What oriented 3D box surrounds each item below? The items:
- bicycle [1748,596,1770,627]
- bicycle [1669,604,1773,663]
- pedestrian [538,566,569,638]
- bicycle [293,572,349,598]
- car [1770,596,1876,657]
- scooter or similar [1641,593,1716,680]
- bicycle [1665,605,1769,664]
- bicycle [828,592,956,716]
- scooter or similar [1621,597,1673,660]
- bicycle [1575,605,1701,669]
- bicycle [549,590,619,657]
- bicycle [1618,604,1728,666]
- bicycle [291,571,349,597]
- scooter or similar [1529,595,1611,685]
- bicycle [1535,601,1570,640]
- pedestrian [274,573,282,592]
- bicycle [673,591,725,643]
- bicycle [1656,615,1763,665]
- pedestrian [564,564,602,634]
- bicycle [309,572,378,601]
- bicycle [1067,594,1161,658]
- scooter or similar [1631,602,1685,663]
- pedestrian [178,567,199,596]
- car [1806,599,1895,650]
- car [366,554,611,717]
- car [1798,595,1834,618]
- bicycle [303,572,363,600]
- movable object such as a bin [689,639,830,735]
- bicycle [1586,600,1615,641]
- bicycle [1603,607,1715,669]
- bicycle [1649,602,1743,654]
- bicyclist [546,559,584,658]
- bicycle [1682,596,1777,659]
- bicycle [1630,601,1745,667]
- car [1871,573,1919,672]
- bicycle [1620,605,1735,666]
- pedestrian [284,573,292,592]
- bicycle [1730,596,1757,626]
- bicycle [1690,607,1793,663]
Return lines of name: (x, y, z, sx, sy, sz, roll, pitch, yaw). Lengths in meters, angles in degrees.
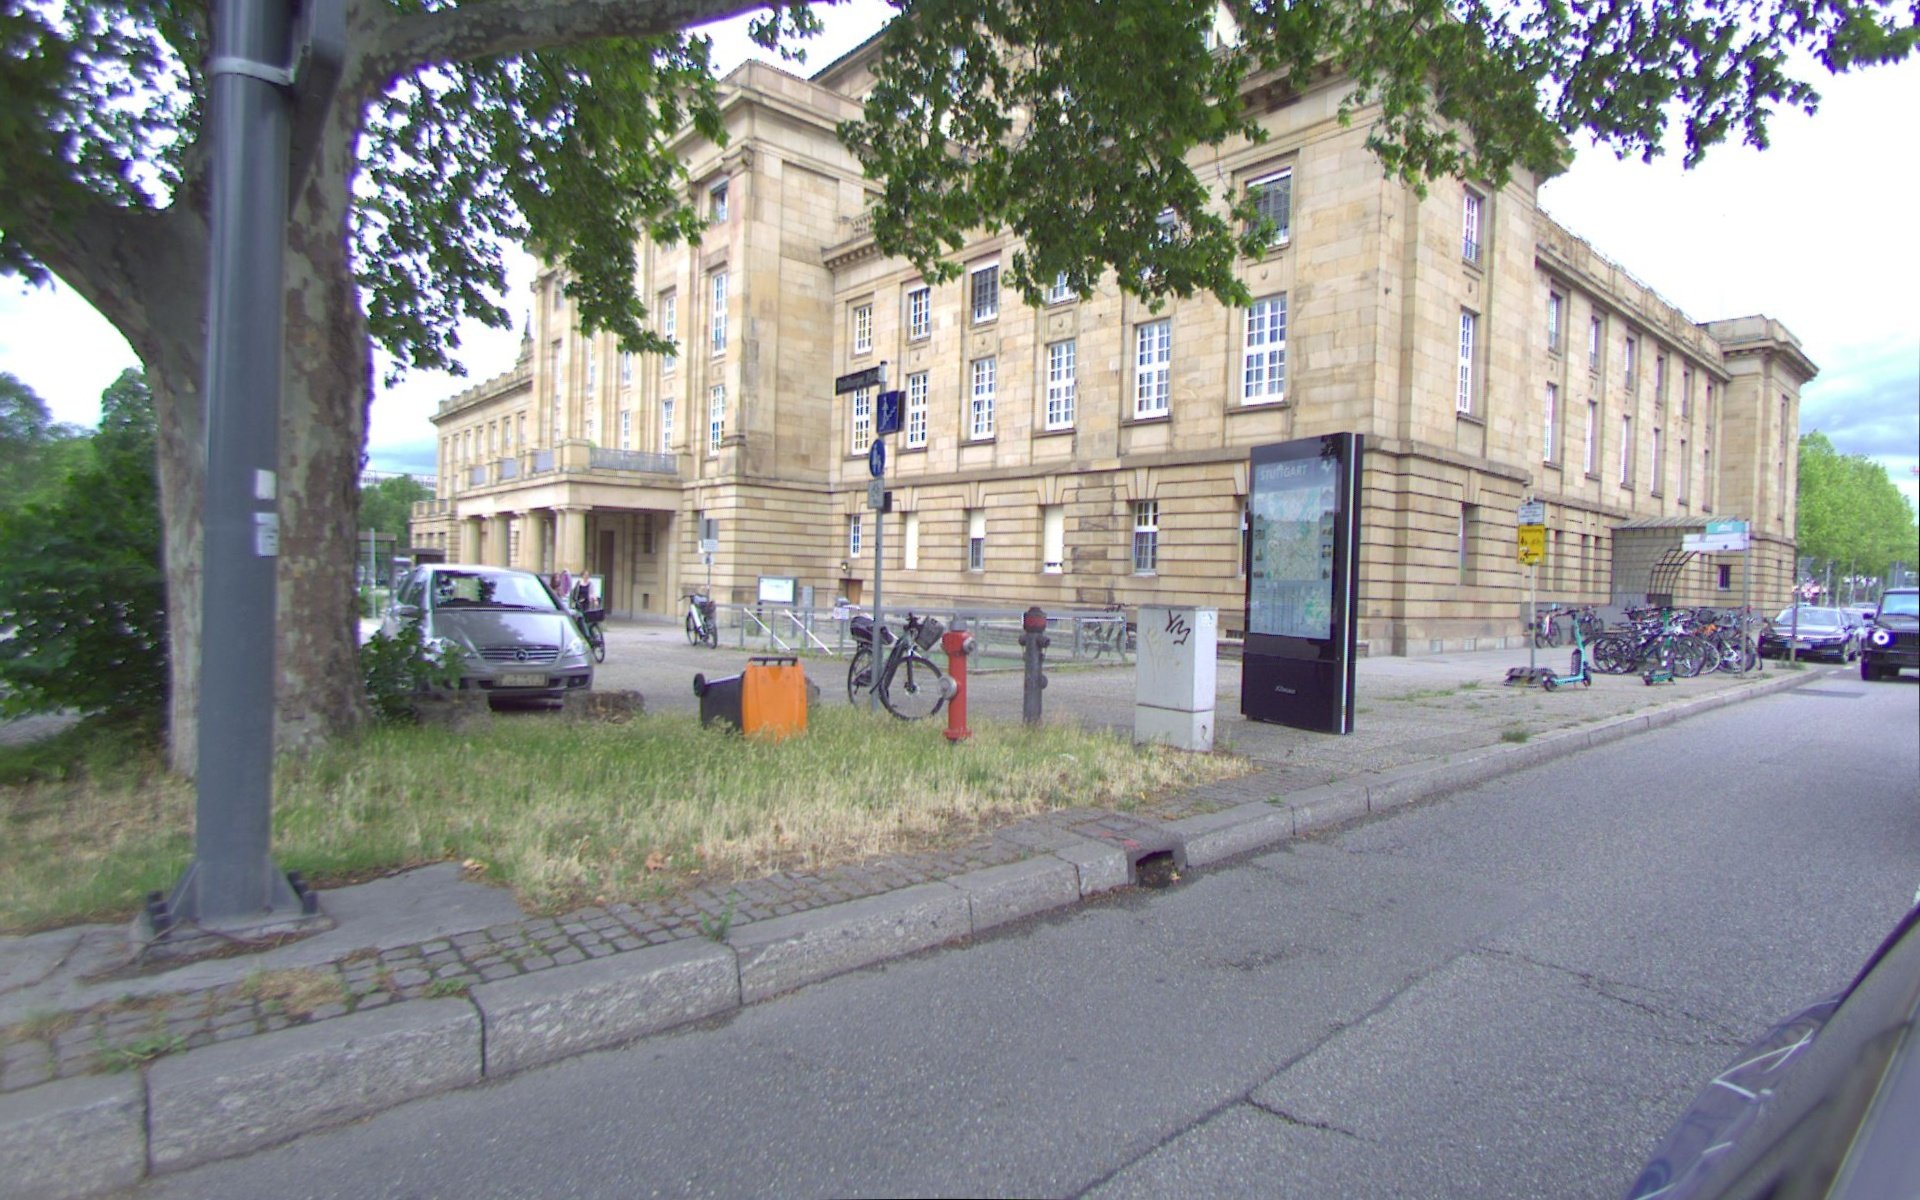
bicycle: (34.410, 0.502, 43.574, 1.759, 1.304, 0.413, 0, 1, -42)
bicycle: (15.171, 0.654, 20.212, 1.596, 1.144, 0.405, 0, 0, 24)
pedestrian: (-9.872, 0.046, 24.604, 0.559, 1.716, 0.430, 1, 1, -43)
bicycle: (-35.350, -0.829, 56.037, 2.534, 1.362, 0.726, 0, 0, -41)
car: (23.570, 0.660, 27.575, 4.254, 1.504, 1.790, 0, 1, -44)
scooter or similar: (11.681, 0.562, 16.443, 1.389, 1.348, 0.726, 0, 0, -42)
bicycle: (15.218, 0.687, 20.389, 1.596, 1.144, 0.466, 0, 0, 24)
bicycle: (-0.786, 0.547, 11.164, 0.483, 1.236, 1.790, 1, 1, -38)
scooter or similar: (14.500, 0.581, 21.357, 1.126, 1.295, 0.564, 1, 0, -36)
bicycle: (12.553, 0.657, 18.798, 0.652, 1.105, 1.866, 1, 0, -28)
bicycle: (-6.967, 0.414, 18.694, 1.748, 1.146, 0.437, 2, 1, 42)
bicycle: (13.566, 0.641, 19.309, 0.373, 1.105, 1.736, 1, 0, -28)
bicycle: (-34.331, -0.840, 54.316, 2.534, 1.362, 0.726, 0, 0, -41)
scooter or similar: (9.201, 0.579, 15.254, 1.405, 1.297, 0.433, 0, 0, -30)
bicycle: (16.139, 0.548, 27.536, 1.929, 1.010, 0.240, 0, 1, -42)
pedestrian: (-64.530, -1.638, 95.807, 0.534, 1.828, 0.653, 0, -1, -24)
bicycle: (-5.904, 0.359, 22.814, 0.418, 1.114, 2.172, 0, 0, -35)
bicycle: (15.727, 0.822, 21.282, 0.601, 0.928, 1.737, 0, 1, -22)
pedestrian: (-9.672, -0.036, 25.958, 0.693, 1.744, 0.680, 1, 1, -43)
bicycle: (-31.366, -0.665, 51.537, 0.959, 1.443, 2.852, -1, 0, 45)
bicycle: (2.948, 0.477, 19.541, 0.382, 1.139, 2.014, 0, 1, -41)
scooter or similar: (14.576, 0.661, 21.129, 1.286, 1.239, 0.427, 0, 0, -31)
pedestrian: (-49.477, -1.174, 64.936, 0.539, 1.828, 0.940, -1, -1, 22)
car: (28.634, 0.731, 32.510, 3.929, 1.443, 1.711, 0, 3, -43)
car: (-5.648, 0.303, 11.884, 1.650, 1.588, 3.843, 0, 1, -40)
car: (59.398, 0.409, 70.213, 3.446, 1.549, 1.581, 0, 1, -44)
bicycle: (-31.964, -0.710, 51.619, 2.534, 1.362, 0.726, 0, 0, -41)
movable object such as a bin: (-1.675, 0.680, 8.321, 0.715, 0.660, 1.304, -1, 0, -32)
bicycle: (19.248, 0.602, 30.386, 1.510, 1.198, 0.276, 0, 0, -39)
bicycle: (13.179, 0.685, 19.138, 0.417, 1.105, 1.736, 1, 0, -28)
bicycle: (15.501, 0.579, 21.343, 0.427, 1.041, 1.570, 1, 0, -30)
bicyclist: (-7.208, 0.153, 18.454, 0.436, 1.770, 0.468, 2, 1, 41)
bicycle: (16.222, 0.561, 21.369, 0.532, 1.273, 1.550, 1, 0, -22)
bicycle: (14.245, 0.635, 19.859, 0.594, 1.224, 1.759, 1, 0, -44)
car: (20.764, 0.464, 21.241, 4.323, 1.950, 1.951, 0, 1, -42)
bicycle: (13.870, 0.664, 19.606, 0.563, 1.105, 1.735, 1, 0, -32)
pedestrian: (-63.794, -1.646, 96.126, 0.534, 1.828, 0.653, 0, -1, -24)
bicycle: (33.113, 0.452, 42.748, 1.883, 1.232, 0.556, 0, 1, -42)
bicycle: (16.599, 0.721, 21.537, 0.573, 1.088, 1.671, 0, 0, -22)
